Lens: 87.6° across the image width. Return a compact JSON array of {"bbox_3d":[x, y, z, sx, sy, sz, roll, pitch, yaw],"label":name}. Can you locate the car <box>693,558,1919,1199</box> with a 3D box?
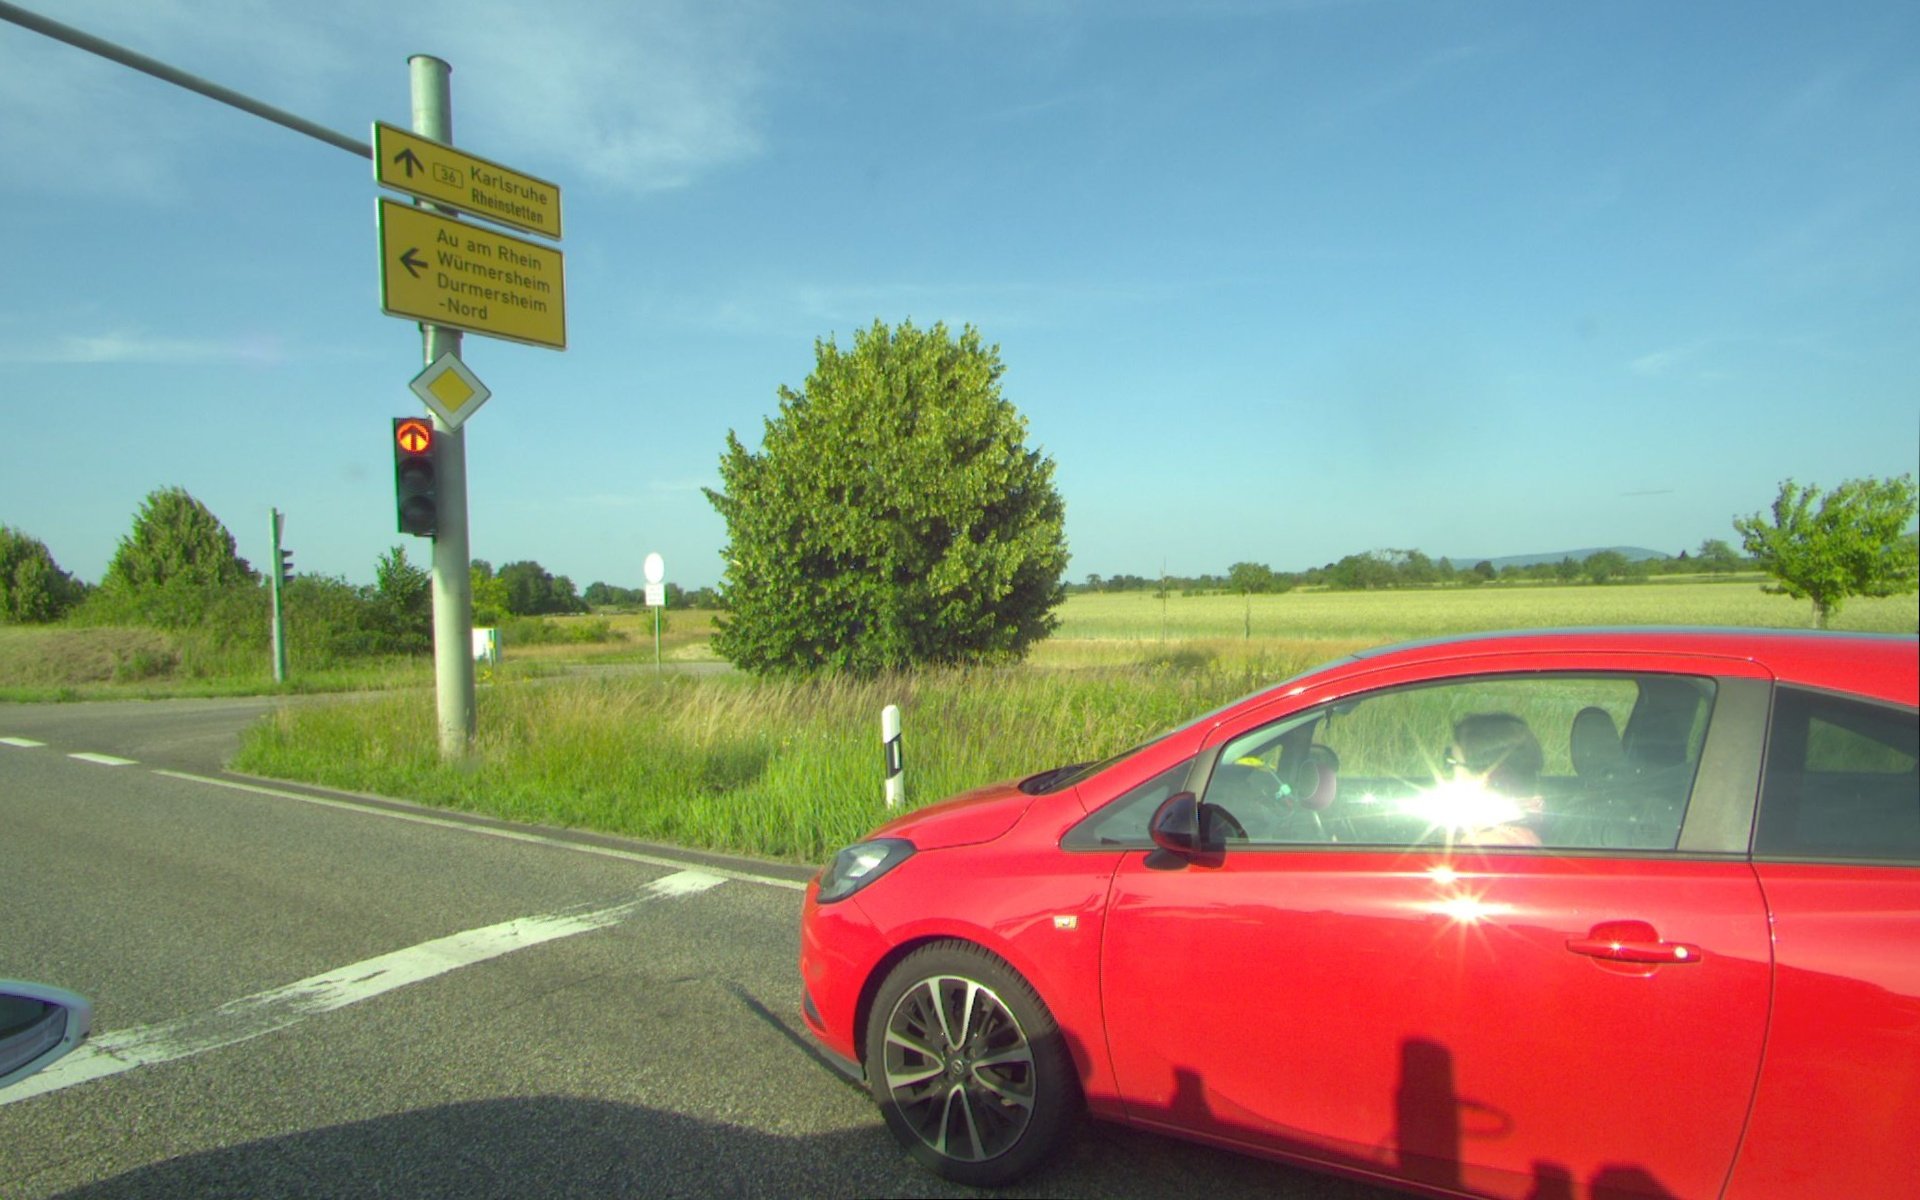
[{"bbox_3d":[1.219,0.733,2.867,3.693,1.569,1.695,-1,0,29],"label":"car"}]
